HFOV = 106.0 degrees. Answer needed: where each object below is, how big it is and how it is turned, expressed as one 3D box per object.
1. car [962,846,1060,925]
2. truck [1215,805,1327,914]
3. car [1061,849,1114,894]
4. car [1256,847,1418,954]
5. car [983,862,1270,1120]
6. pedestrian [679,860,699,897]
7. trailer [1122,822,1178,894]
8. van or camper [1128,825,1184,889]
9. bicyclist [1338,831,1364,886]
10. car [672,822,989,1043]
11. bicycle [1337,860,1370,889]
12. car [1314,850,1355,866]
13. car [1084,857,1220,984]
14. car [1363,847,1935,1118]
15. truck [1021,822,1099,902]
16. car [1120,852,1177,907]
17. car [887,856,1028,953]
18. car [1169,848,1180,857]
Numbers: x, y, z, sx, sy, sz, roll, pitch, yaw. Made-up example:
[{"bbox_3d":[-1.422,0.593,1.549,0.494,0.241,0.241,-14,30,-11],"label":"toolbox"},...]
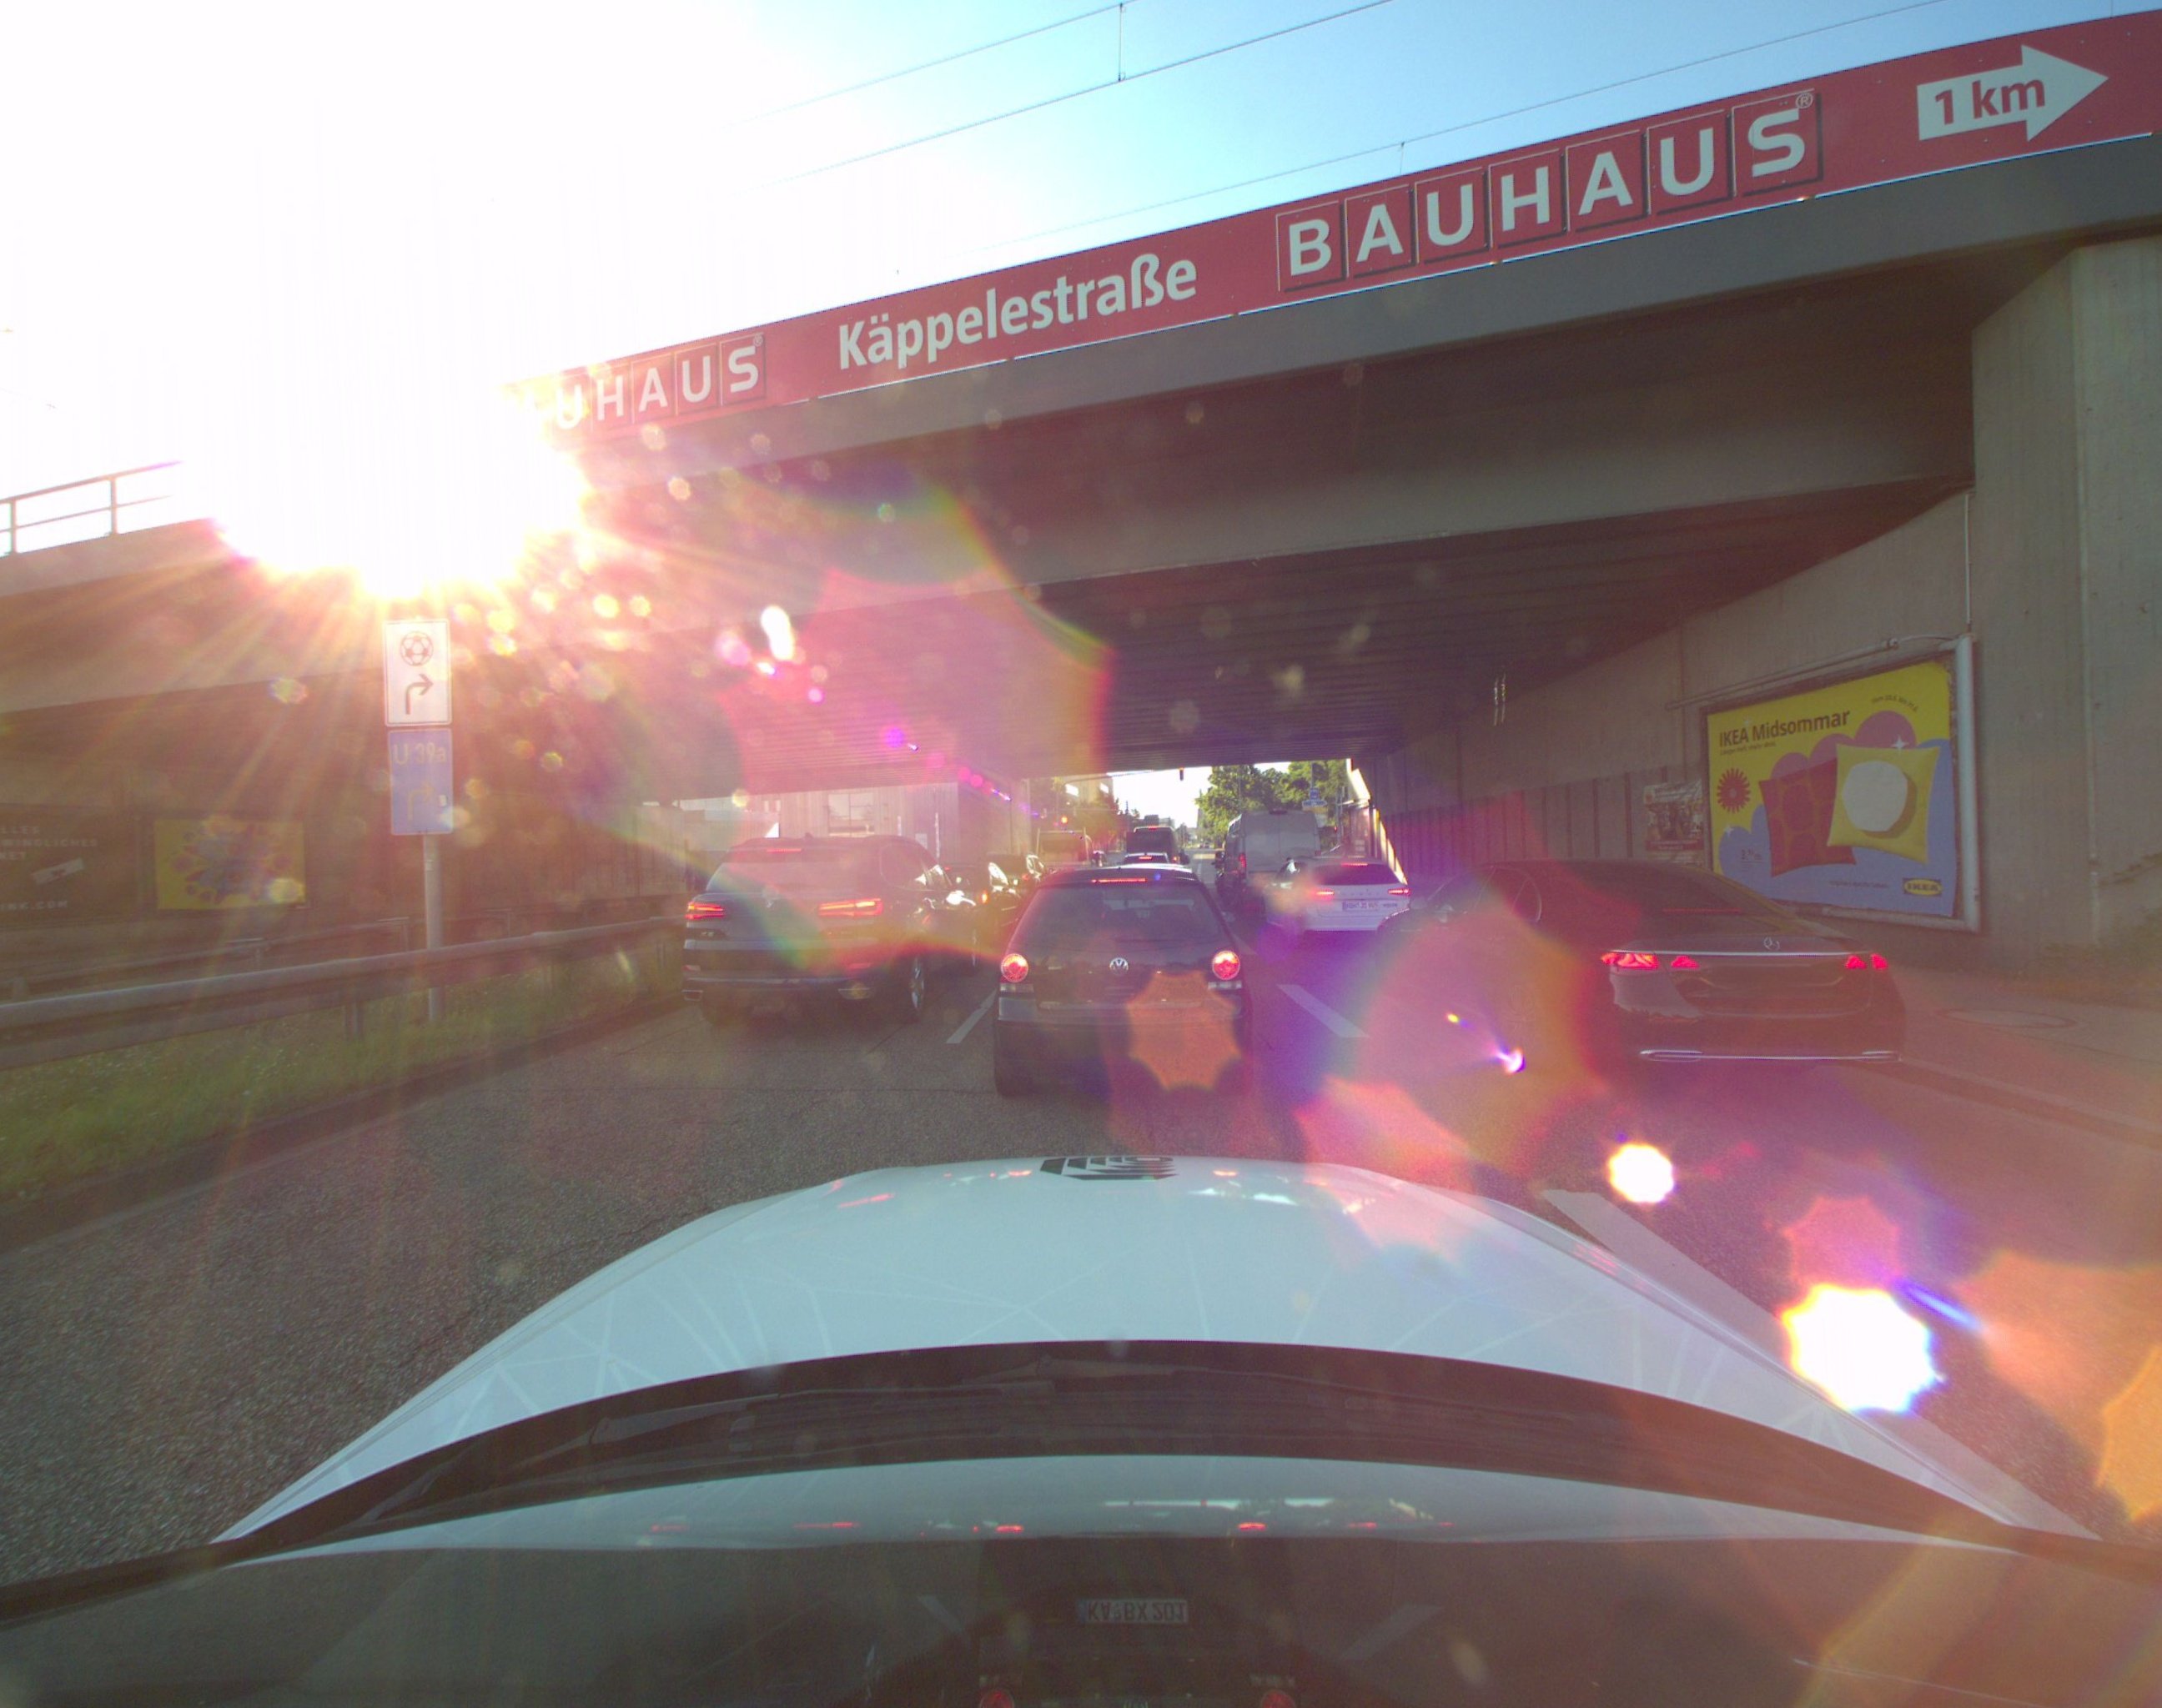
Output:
[{"bbox_3d":[-1.711,0.773,21.350,1.833,1.719,4.004,-5,-1,4],"label":"car"},{"bbox_3d":[4.932,0.169,21.812,2.102,2.519,4.405,-3,-1,4],"label":"truck"},{"bbox_3d":[0.358,0.808,38.104,1.983,1.901,4.008,-2,-1,7],"label":"car"},{"bbox_3d":[4.174,0.715,13.905,1.764,1.495,3.837,-3,-1,5],"label":"car"},{"bbox_3d":[0.293,0.802,6.461,1.576,1.409,3.832,-1,-1,1],"label":"car"},{"bbox_3d":[-20.676,1.292,42.967,0.690,1.903,0.666,-2,-1,7],"label":"pedestrian"},{"bbox_3d":[2.658,0.175,30.668,1.854,2.465,3.839,-3,-1,7],"label":"trailer"},{"bbox_3d":[3.444,0.154,36.226,1.982,2.571,5.933,-2,-1,9],"label":"van or camper"},{"bbox_3d":[9.526,0.165,28.767,0.678,1.907,0.835,-2,-1,8],"label":"bicyclist"},{"bbox_3d":[-2.293,0.676,8.840,1.822,1.738,4.464,-2,-1,3],"label":"car"},{"bbox_3d":[9.523,0.711,28.593,0.575,0.963,2.893,-2,-1,8],"label":"bicycle"},{"bbox_3d":[19.244,0.295,61.880,2.806,1.081,1.221,-2,-1,8],"label":"car"},{"bbox_3d":[0.986,0.824,11.666,1.540,1.423,3.421,-5,0,4],"label":"car"},{"bbox_3d":[3.935,0.697,6.811,1.733,1.454,4.609,-1,1,3],"label":"car"},{"bbox_3d":[-0.642,0.310,29.263,2.018,2.557,5.546,-2,-1,6],"label":"truck"},{"bbox_3d":[2.070,0.750,24.740,1.574,1.532,3.837,-1,-1,5],"label":"car"},{"bbox_3d":[-2.150,0.852,15.193,1.834,1.440,3.677,-5,-1,2],"label":"car"},{"bbox_3d":[14.293,-0.262,124.884,1.335,1.281,2.894,-5,-1,1],"label":"car"}]
